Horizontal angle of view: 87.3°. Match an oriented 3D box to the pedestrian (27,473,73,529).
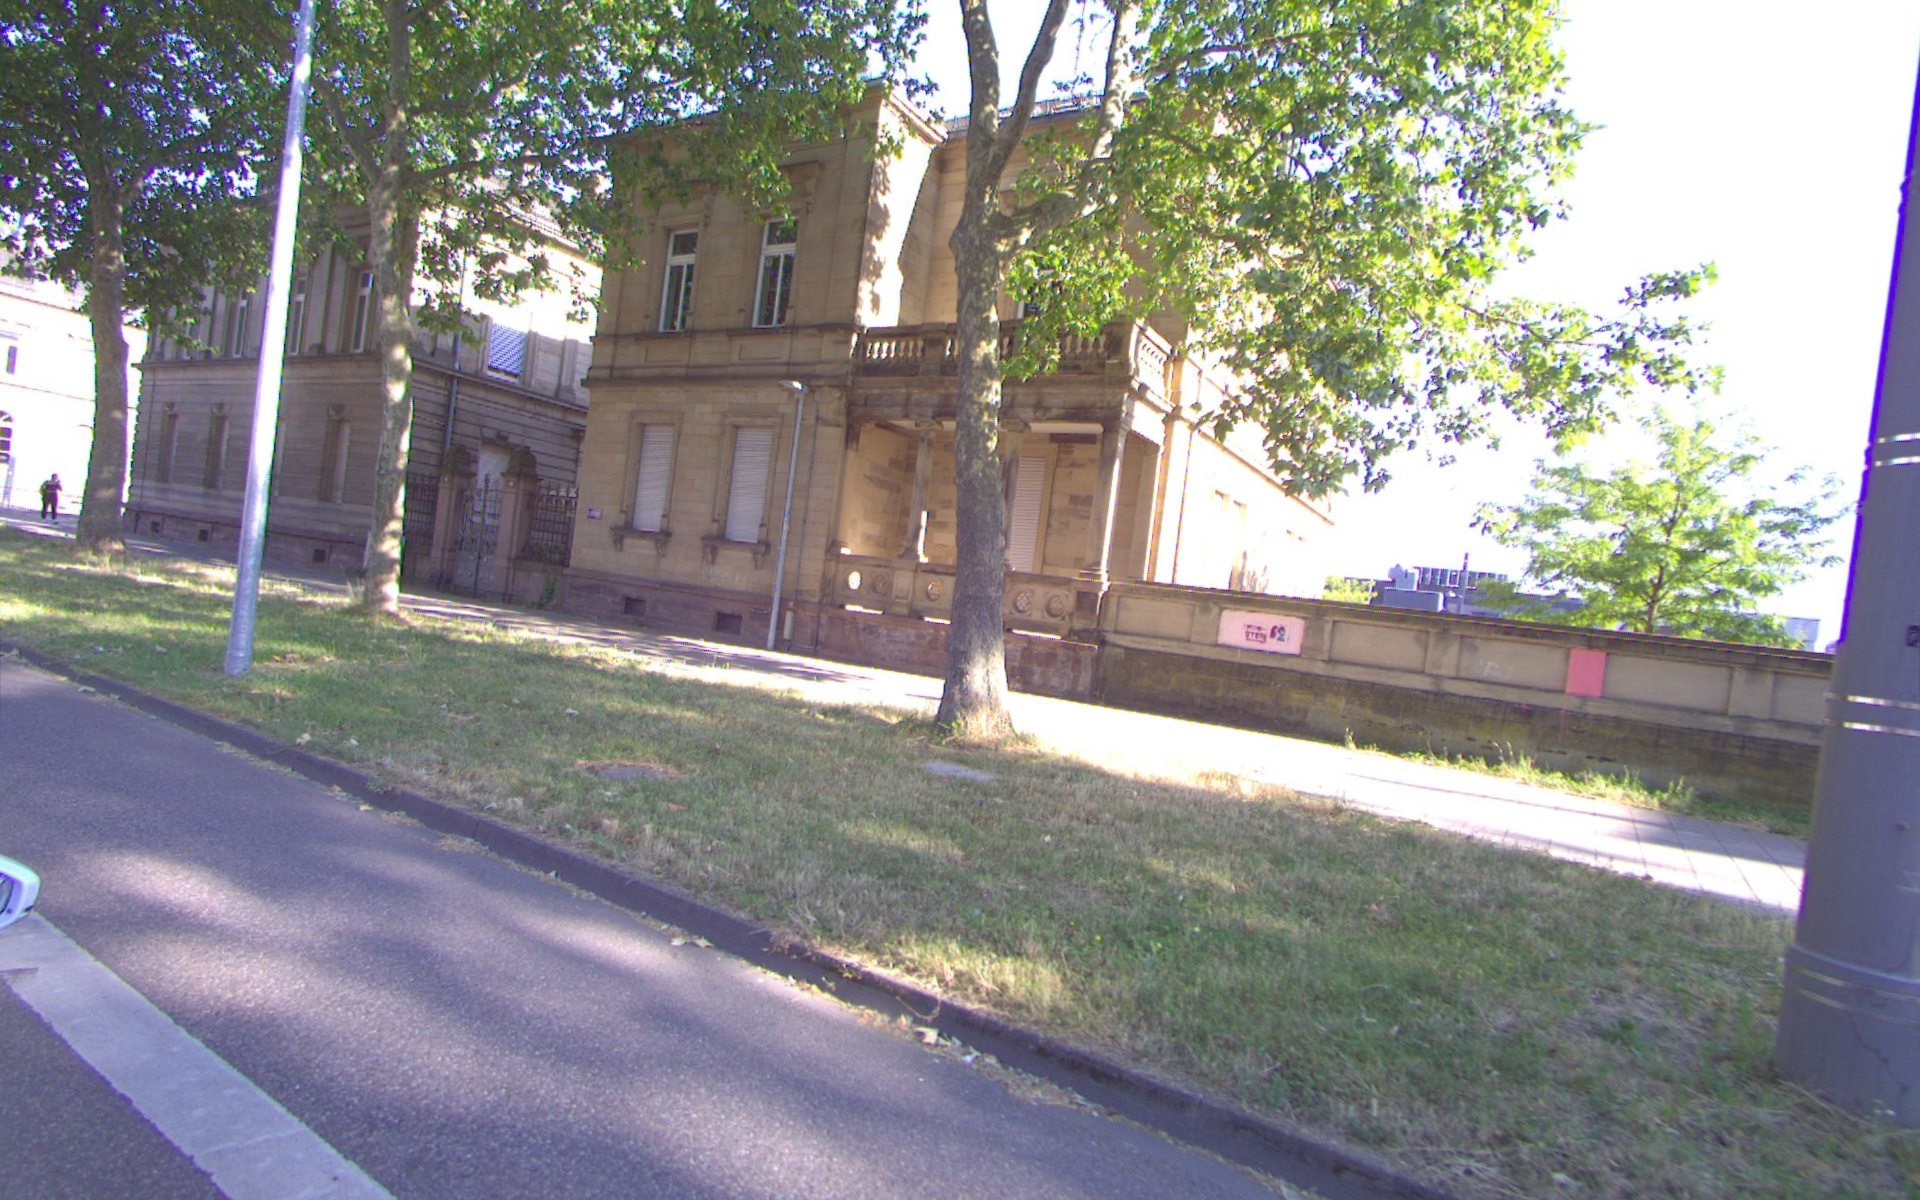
[{"bbox_3d":[-29.036,-3.166,32.087,0.970,1.626,0.770,8,1,33],"label":"pedestrian"}]
